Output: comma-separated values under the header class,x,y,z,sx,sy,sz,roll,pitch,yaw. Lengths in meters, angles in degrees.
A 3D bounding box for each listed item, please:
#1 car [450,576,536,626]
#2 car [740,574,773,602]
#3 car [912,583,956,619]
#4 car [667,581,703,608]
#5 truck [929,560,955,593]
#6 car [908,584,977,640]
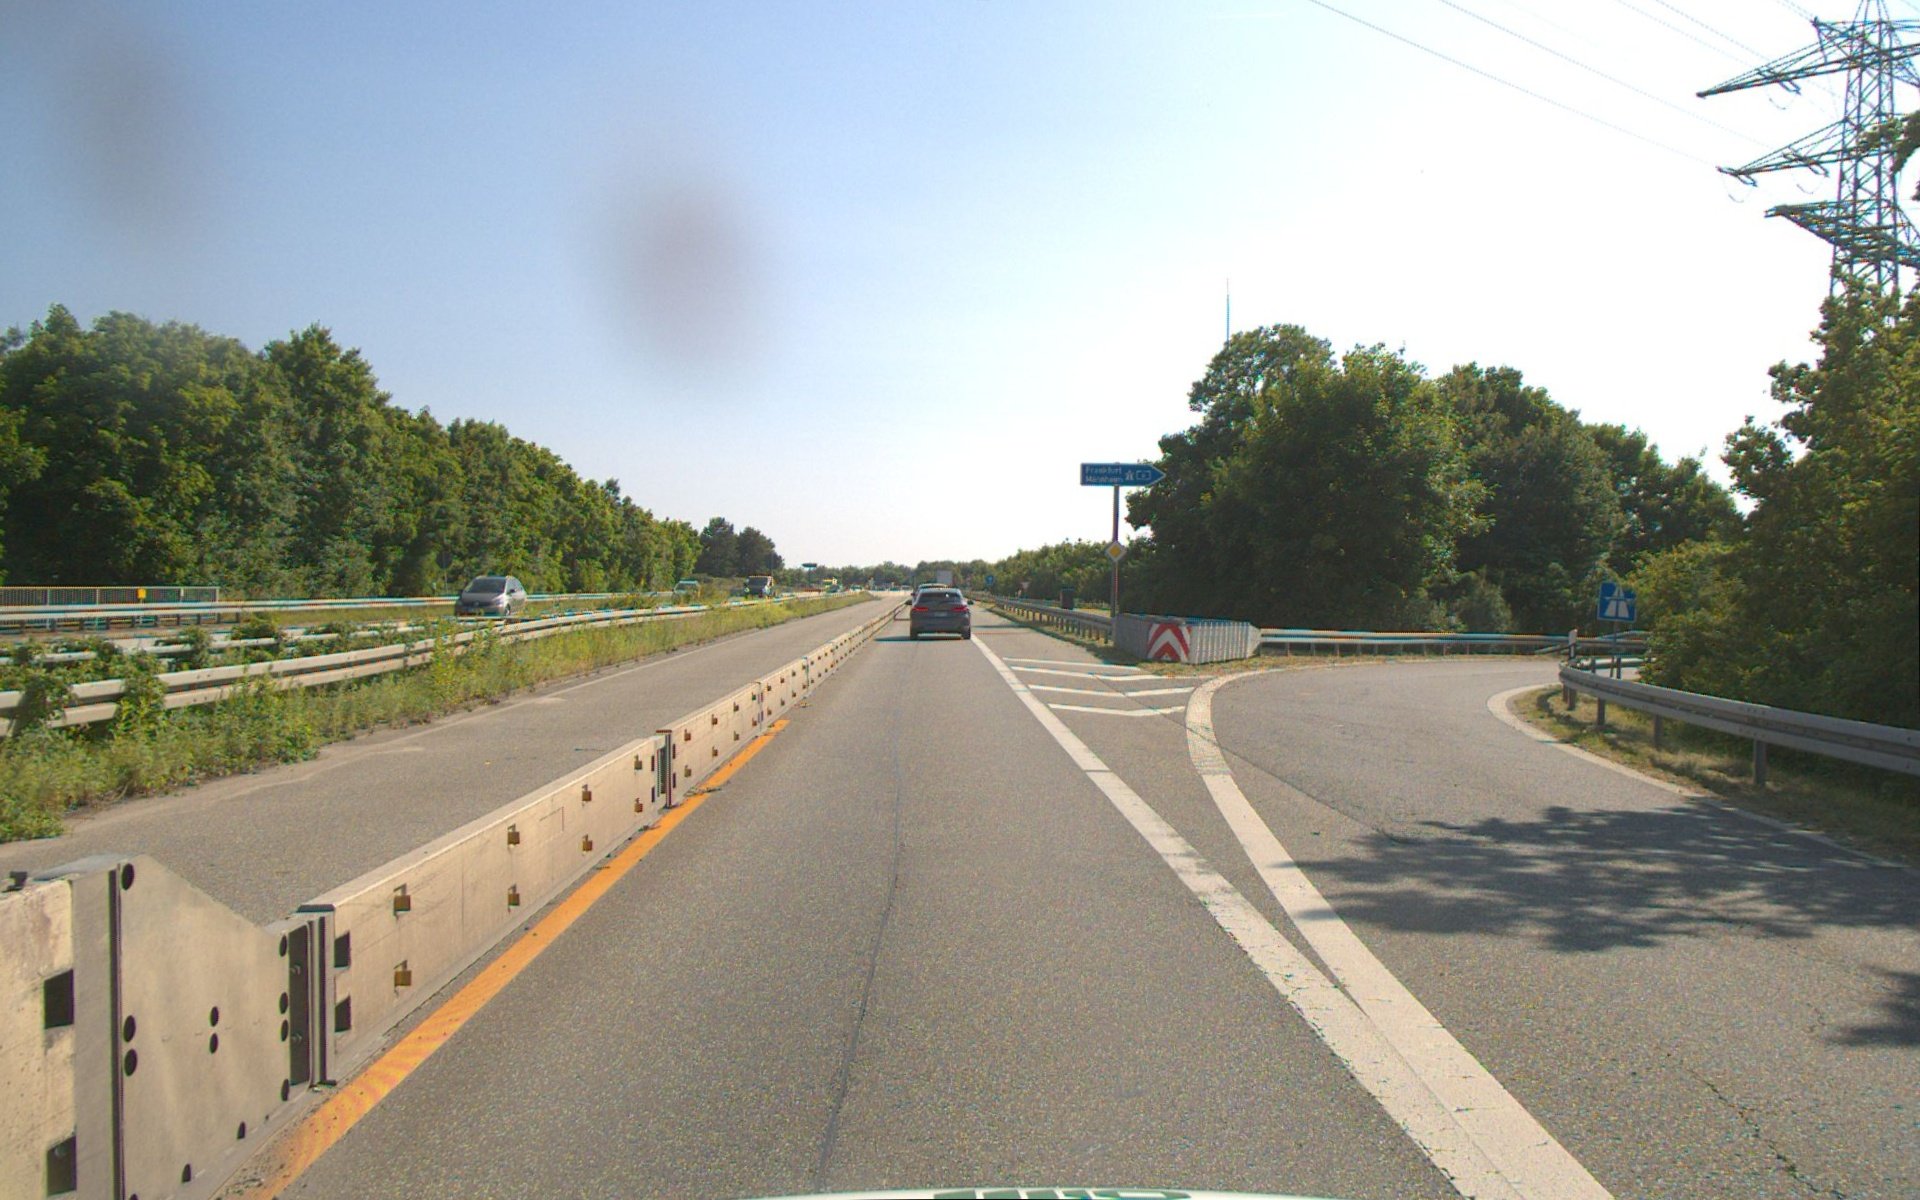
class,x,y,z,sx,sy,sz,roll,pitch,yaw
car,-15.819,0.009,56.245,1.727,1.610,4.422,0,1,-1
car,-15.790,-0.946,128.529,1.953,2.070,5.167,0,1,-1
car,-1.173,0.032,75.473,1.953,1.594,4.000,0,1,-1
car,-16.545,-0.348,99.613,1.613,1.558,3.817,1,0,-2
truck,-2.946,-3.775,267.244,3.685,4.997,14.130,1,1,-2
car,-0.546,0.320,48.199,1.882,1.520,3.998,1,1,-3
